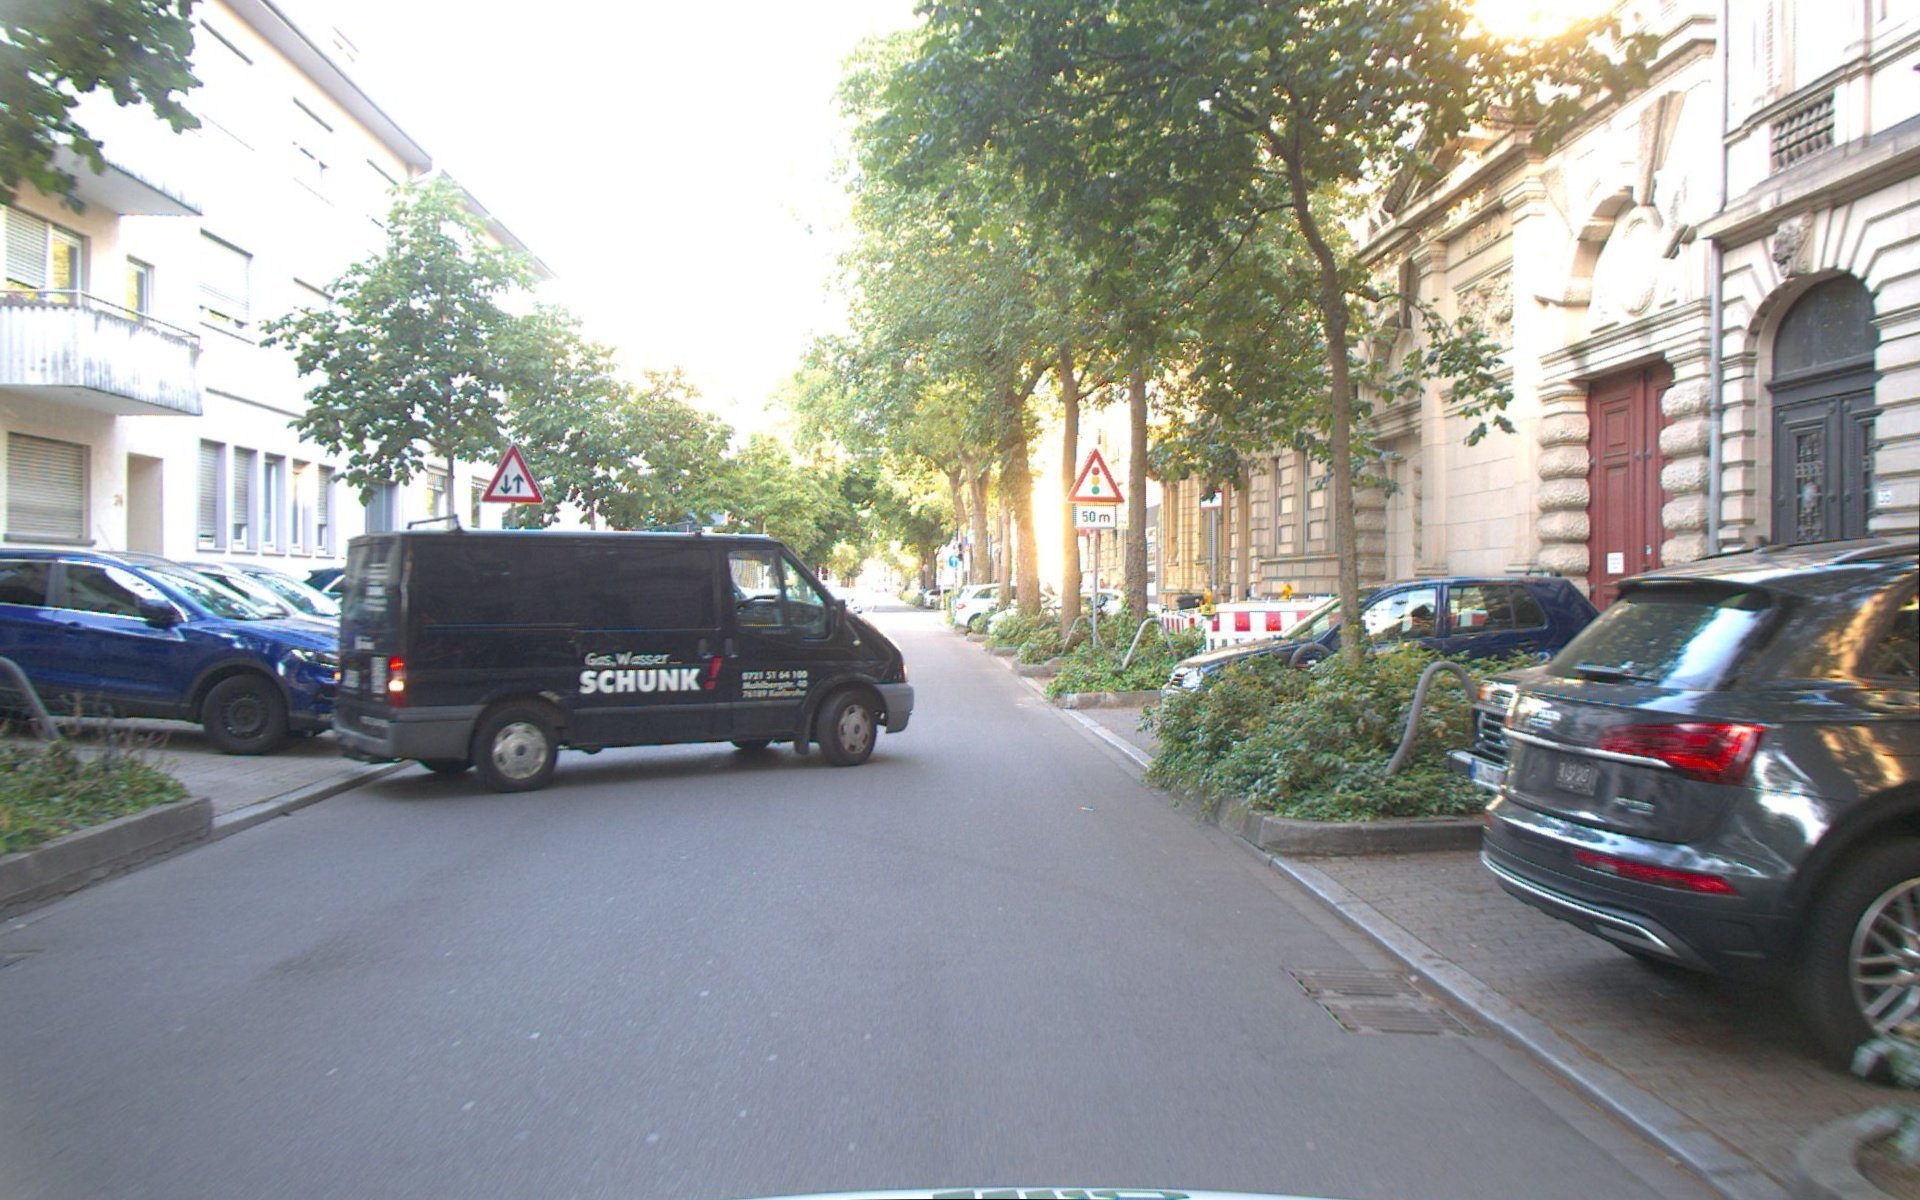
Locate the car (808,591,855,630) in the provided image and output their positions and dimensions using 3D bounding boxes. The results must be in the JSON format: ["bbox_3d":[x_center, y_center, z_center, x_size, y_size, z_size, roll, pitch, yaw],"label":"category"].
[{"bbox_3d":[-5.436,0.409,70.436,1.839,1.576,4.273,-1,0,-3],"label":"car"}]

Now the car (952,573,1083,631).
[{"bbox_3d":[2.029,0.055,58.818,4.452,1.948,1.948,-1,0,-5],"label":"car"}]

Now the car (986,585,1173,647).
[{"bbox_3d":[2.909,0.383,40.959,4.490,1.462,1.925,0,1,-1],"label":"car"}]

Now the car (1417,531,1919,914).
[{"bbox_3d":[4.546,0.526,8.436,3.927,1.716,1.764,-1,1,-3],"label":"car"}]

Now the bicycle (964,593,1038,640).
[{"bbox_3d":[1.150,0.456,46.448,1.986,1.225,0.486,-2,0,-16],"label":"bicycle"}]

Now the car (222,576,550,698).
[{"bbox_3d":[-7.648,0.470,22.325,3.768,1.476,1.854,1,1,-3],"label":"car"}]

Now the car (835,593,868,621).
[{"bbox_3d":[-6.370,0.409,97.220,1.840,1.576,4.272,-1,0,-4],"label":"car"}]

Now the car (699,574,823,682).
[{"bbox_3d":[-3.340,0.422,28.468,1.840,1.669,4.643,-1,0,-4],"label":"car"}]

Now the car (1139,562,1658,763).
[{"bbox_3d":[3.846,0.517,14.993,4.139,1.507,1.854,-3,0,-3],"label":"car"}]

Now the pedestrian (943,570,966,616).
[{"bbox_3d":[-0.273,-0.338,80.842,1.022,2.184,1.063,1,-1,-2],"label":"pedestrian"}]

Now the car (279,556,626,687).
[{"bbox_3d":[-7.531,0.312,24.969,4.573,1.796,2.155,1,0,-4],"label":"car"}]

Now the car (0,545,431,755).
[{"bbox_3d":[-7.189,0.385,14.745,4.267,1.600,1.929,3,0,-3],"label":"car"}]

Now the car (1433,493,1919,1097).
[{"bbox_3d":[4.180,0.531,5.939,4.351,1.748,1.967,-1,0,-3],"label":"car"}]

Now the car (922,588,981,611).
[{"bbox_3d":[-0.628,-0.059,117.314,4.109,1.506,1.851,-1,0,-3],"label":"car"}]

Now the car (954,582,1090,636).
[{"bbox_3d":[1.895,0.265,51.194,4.138,1.587,1.971,-1,1,0],"label":"car"}]

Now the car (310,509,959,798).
[{"bbox_3d":[-2.636,0.350,13.908,4.947,2.025,2.163,0,1,-35],"label":"car"}]

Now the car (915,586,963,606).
[{"bbox_3d":[-1.761,-0.354,138.105,3.935,1.651,1.779,0,0,-4],"label":"car"}]

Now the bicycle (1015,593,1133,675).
[{"bbox_3d":[2.019,0.599,29.442,2.006,1.384,0.508,2,0,-5],"label":"bicycle"}]
